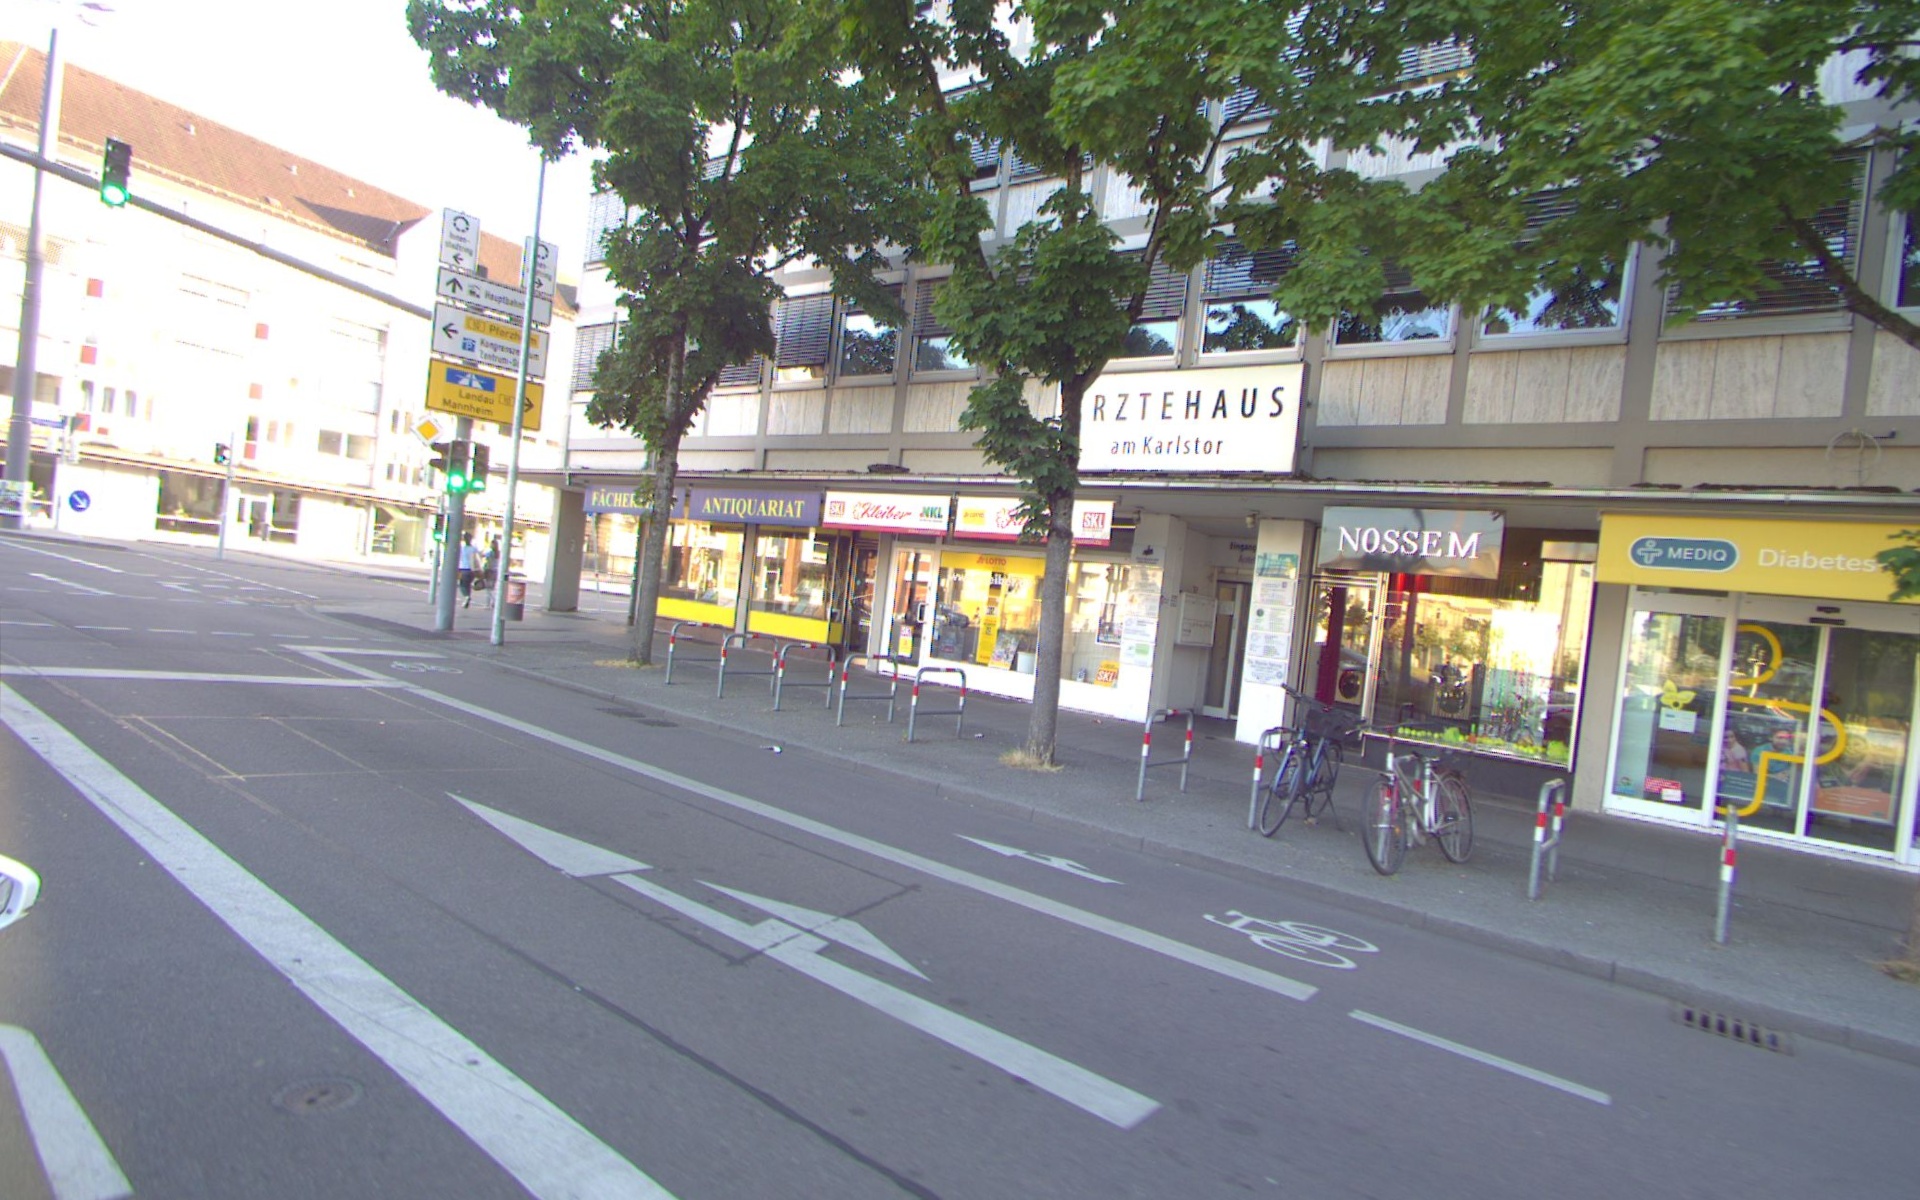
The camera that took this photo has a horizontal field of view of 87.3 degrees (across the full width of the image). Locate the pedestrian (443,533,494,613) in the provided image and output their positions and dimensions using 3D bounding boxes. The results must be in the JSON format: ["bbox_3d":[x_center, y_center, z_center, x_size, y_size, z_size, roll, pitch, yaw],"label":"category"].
[{"bbox_3d":[-11.034,-0.597,22.572,0.661,1.688,0.683,7,1,41],"label":"pedestrian"}]

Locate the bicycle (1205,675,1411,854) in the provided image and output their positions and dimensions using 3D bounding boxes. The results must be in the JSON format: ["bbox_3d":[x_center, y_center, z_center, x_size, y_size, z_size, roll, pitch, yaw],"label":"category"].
[{"bbox_3d":[2.931,1.331,8.367,1.897,1.251,0.660,7,1,-42],"label":"bicycle"}]

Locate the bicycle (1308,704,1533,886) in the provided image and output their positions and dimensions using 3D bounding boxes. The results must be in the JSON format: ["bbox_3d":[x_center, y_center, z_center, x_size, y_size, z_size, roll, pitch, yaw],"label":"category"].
[{"bbox_3d":[3.522,1.423,7.603,1.988,1.124,0.660,7,1,-40],"label":"bicycle"}]

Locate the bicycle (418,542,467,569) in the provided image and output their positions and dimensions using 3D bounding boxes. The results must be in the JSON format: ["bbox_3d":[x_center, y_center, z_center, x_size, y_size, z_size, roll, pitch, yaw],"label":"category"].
[{"bbox_3d":[-30.415,-2.597,59.193,0.809,1.281,2.407,7,0,32],"label":"bicycle"}]

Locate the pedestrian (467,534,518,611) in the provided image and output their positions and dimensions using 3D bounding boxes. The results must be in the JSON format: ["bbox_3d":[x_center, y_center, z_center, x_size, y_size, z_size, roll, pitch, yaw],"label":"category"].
[{"bbox_3d":[-10.890,-0.637,23.437,0.661,1.688,0.722,7,1,41],"label":"pedestrian"}]
